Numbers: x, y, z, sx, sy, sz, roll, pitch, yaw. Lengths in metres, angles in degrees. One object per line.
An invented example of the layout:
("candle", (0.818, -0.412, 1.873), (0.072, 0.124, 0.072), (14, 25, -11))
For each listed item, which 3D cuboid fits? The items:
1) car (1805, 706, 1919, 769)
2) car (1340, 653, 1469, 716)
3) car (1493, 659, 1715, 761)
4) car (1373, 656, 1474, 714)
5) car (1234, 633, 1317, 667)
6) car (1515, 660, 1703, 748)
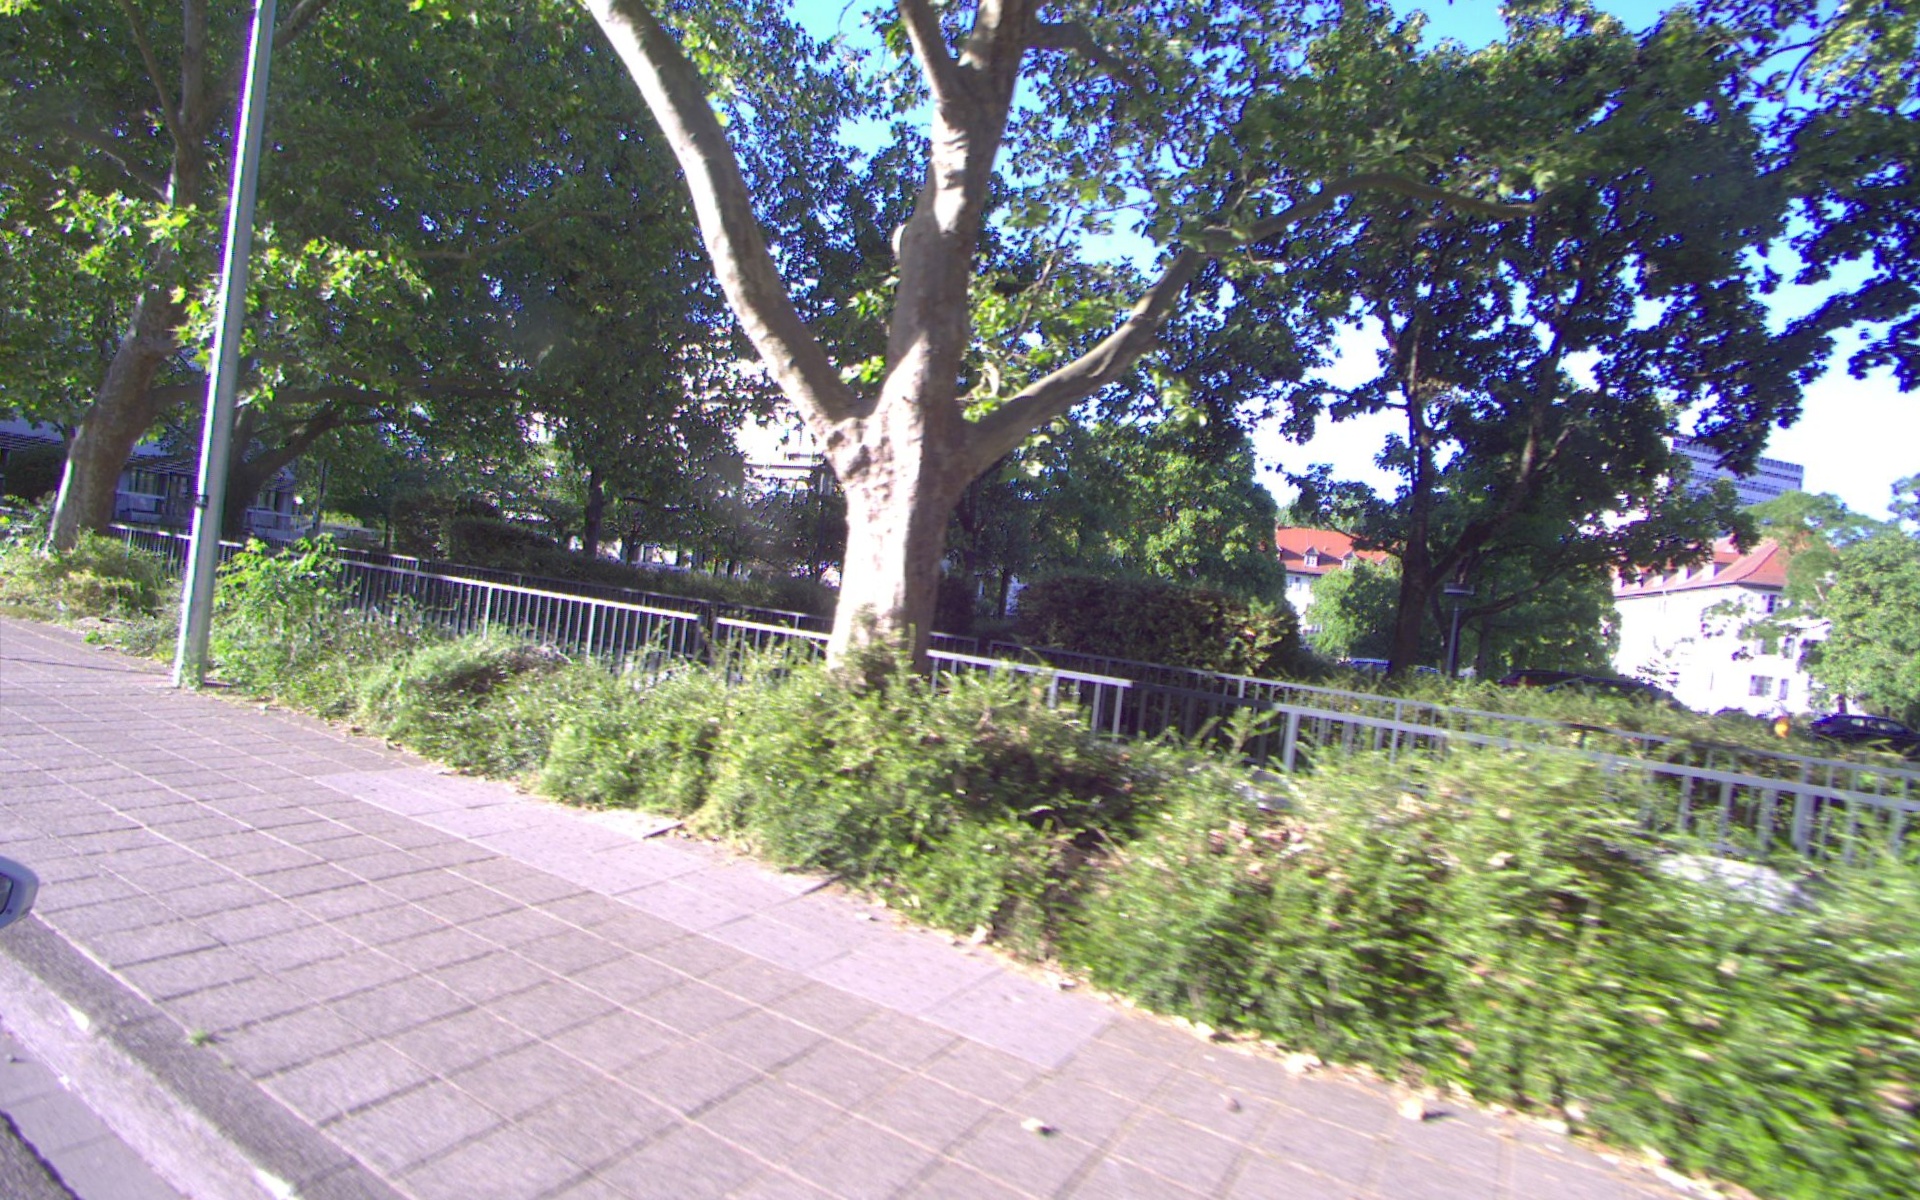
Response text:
("car", (37.399, 5.627, 41.064), (3.977, 1.969, 1.922), (8, -1, 30))
("car", (16.180, 3.080, 36.651), (3.933, 1.645, 1.922), (7, -1, 32))
("car", (14.557, 2.440, 23.025), (3.929, 1.646, 1.762), (7, 0, 27))
("car", (21.142, 3.840, 45.954), (3.929, 2.039, 1.997), (7, 1, 26))
("car", (20.203, 3.194, 64.501), (4.580, 1.492, 2.011), (7, -1, 32))
("car", (17.184, 2.736, 26.843), (3.933, 1.645, 1.551), (7, -1, 32))
